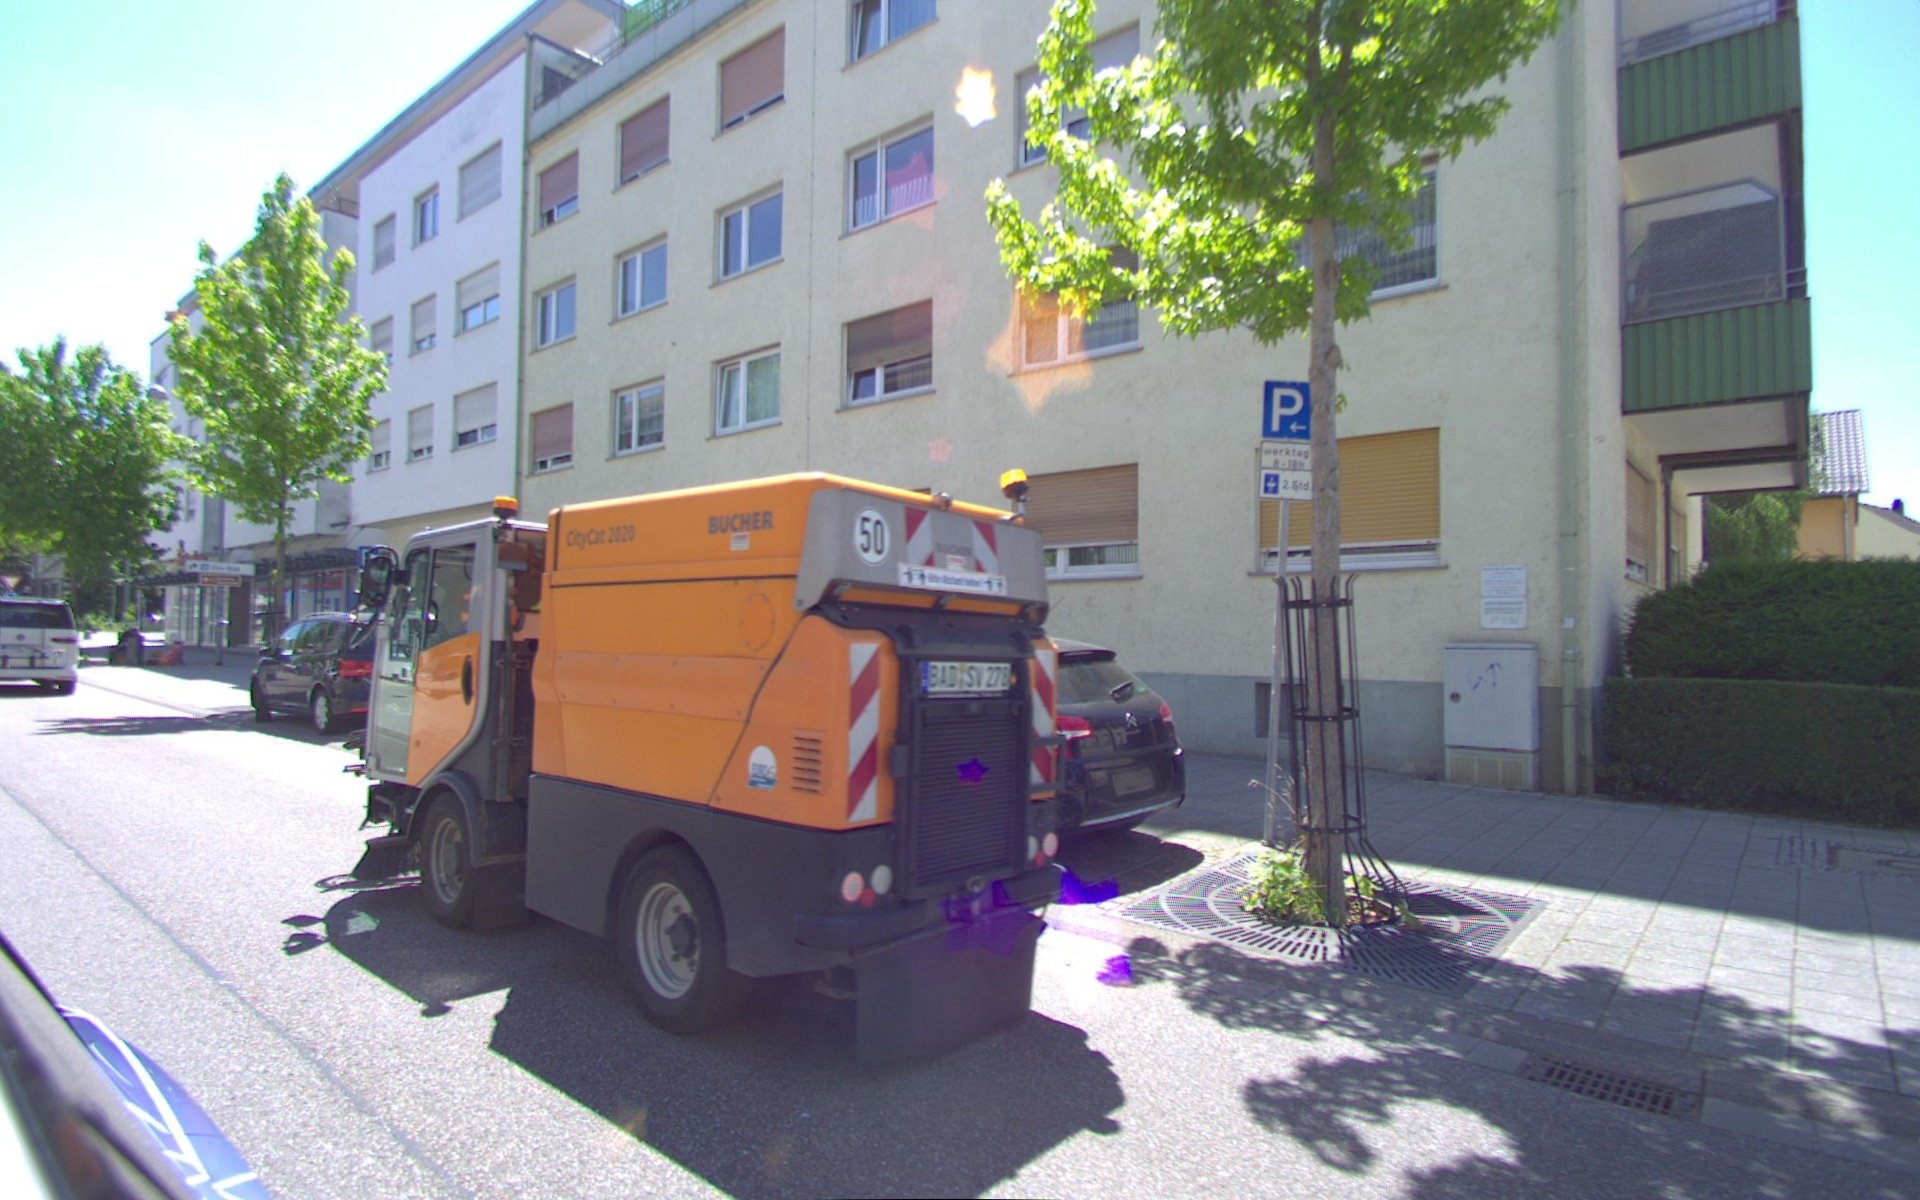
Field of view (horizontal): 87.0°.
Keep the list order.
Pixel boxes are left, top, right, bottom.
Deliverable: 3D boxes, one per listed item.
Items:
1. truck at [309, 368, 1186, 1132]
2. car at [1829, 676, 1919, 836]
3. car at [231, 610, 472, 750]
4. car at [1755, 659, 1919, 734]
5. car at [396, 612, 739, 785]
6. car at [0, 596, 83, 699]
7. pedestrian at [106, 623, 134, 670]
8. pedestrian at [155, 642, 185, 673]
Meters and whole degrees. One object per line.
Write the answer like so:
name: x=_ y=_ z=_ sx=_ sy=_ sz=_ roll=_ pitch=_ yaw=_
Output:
truck: x=-1.416 y=0.506 z=5.076 sx=4.712 sy=2.134 sz=1.786 roll=-2 pitch=-5 yaw=41
car: x=10.874 y=1.474 z=9.533 sx=3.998 sy=1.512 sz=1.973 roll=-4 pitch=-6 yaw=41
car: x=-9.128 y=1.075 z=15.037 sx=4.388 sy=1.753 sz=1.711 roll=-1 pitch=0 yaw=40
car: x=19.707 y=2.038 z=21.481 sx=4.294 sy=1.512 sz=1.973 roll=-4 pitch=-6 yaw=41
car: x=-4.656 y=0.992 z=11.695 sx=4.388 sy=1.632 sz=1.806 roll=-2 pitch=-2 yaw=40
car: x=-19.828 y=0.935 z=20.886 sx=4.903 sy=1.937 sz=1.887 roll=-1 pitch=-4 yaw=41
pedestrian: x=-25.084 y=1.392 z=30.229 sx=0.560 sy=1.382 sz=0.668 roll=4 pitch=-3 yaw=-40
pedestrian: x=-23.794 y=1.718 z=30.473 sx=0.656 sy=0.864 sz=0.734 roll=4 pitch=0 yaw=-40
